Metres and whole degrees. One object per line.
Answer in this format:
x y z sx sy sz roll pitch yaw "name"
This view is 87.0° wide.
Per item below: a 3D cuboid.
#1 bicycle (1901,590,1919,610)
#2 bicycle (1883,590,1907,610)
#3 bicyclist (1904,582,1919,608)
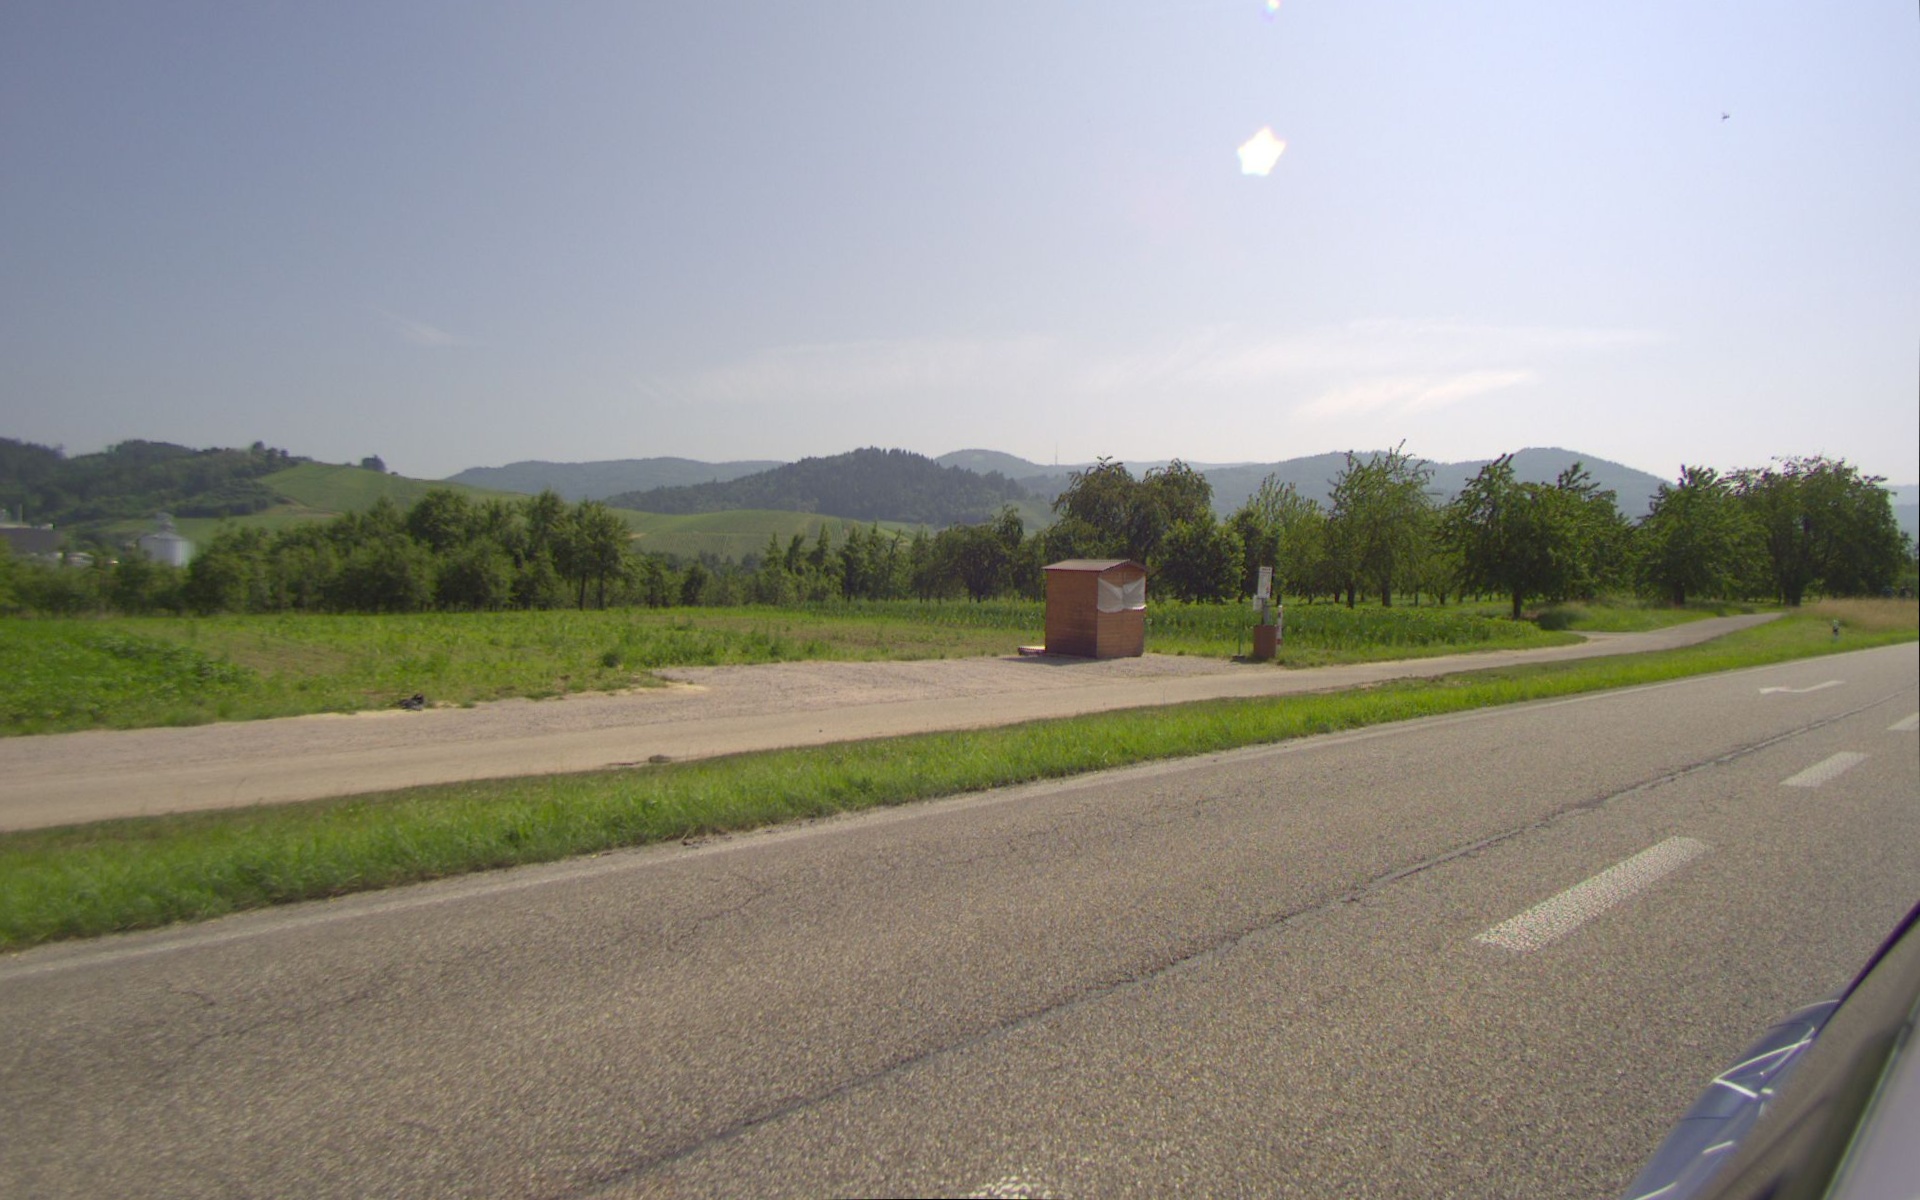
69.778 0.001 74.092 2.177 1.436 0.753 0 2 -32 "bicycle"
69.488 -0.020 75.202 2.177 1.436 0.753 0 2 -32 "bicycle"
69.774 -0.370 74.078 0.852 1.890 0.753 1 1 -32 "bicyclist"
